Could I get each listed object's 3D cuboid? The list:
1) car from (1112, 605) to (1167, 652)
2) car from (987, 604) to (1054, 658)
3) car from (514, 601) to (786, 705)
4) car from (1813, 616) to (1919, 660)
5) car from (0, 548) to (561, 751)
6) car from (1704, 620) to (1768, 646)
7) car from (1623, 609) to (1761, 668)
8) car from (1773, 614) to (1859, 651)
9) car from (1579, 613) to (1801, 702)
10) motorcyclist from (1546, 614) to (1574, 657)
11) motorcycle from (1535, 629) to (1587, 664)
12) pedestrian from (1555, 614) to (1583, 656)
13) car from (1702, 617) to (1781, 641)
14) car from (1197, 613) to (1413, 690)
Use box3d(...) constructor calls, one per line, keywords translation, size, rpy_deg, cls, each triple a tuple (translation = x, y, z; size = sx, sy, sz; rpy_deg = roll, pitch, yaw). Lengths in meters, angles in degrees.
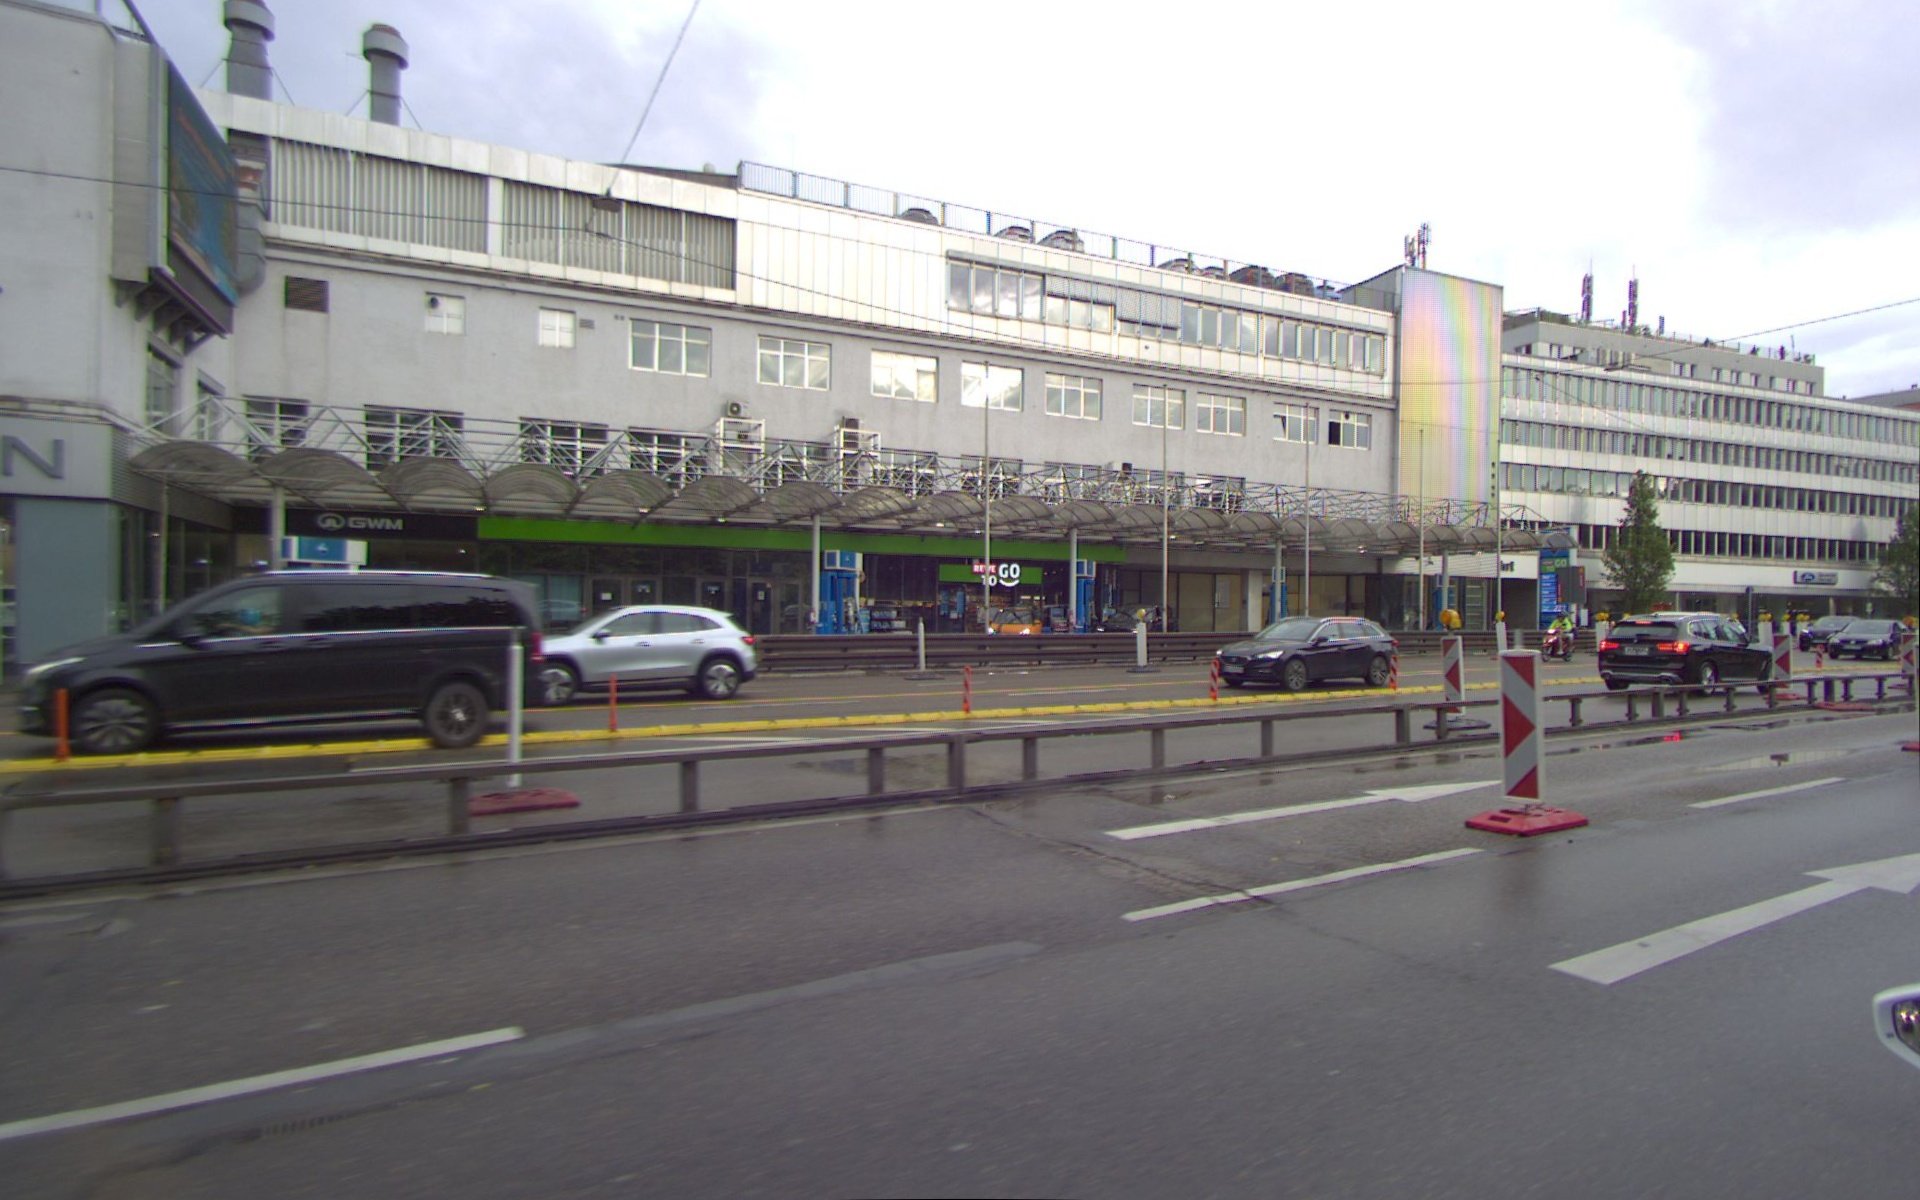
box3d(translation=(6.865, 1.117, 38.557), size=(1.973, 1.701, 4.483), rpy_deg=(0, -2, 9), cls="car")
box3d(translation=(2.225, 1.115, 35.818), size=(1.927, 1.794, 4.449), rpy_deg=(0, -2, 9), cls="car")
box3d(translation=(-5.312, 0.876, 17.371), size=(4.215, 1.606, 1.739), rpy_deg=(1, -2, -30), cls="car")
box3d(translation=(34.025, 1.399, 37.635), size=(4.251, 1.541, 1.949), rpy_deg=(1, 0, -32), cls="car")
box3d(translation=(-7.628, 0.557, 11.888), size=(5.171, 1.962, 1.984), rpy_deg=(1, -2, -31), cls="car")
box3d(translation=(47.352, 2.001, 61.288), size=(3.706, 1.555, 1.647), rpy_deg=(1, -2, -26), cls="car")
box3d(translation=(22.789, 1.161, 31.224), size=(4.529, 1.712, 1.928), rpy_deg=(1, -1, -32), cls="car")
box3d(translation=(37.031, 1.383, 43.437), size=(4.032, 1.556, 1.701), rpy_deg=(1, -1, -32), cls="car")
box3d(translation=(15.680, 1.152, 21.539), size=(4.609, 1.619, 1.940), rpy_deg=(0, 2, -27), cls="car")
box3d(translation=(19.595, 1.157, 32.828), size=(0.555, 1.381, 0.585), rpy_deg=(0, -1, -31), cls="motorcyclist")
box3d(translation=(19.745, 1.532, 32.994), size=(2.004, 1.117, 0.576), rpy_deg=(1, -1, -31), cls="motorcycle")
box3d(translation=(20.071, 1.155, 33.117), size=(0.555, 1.381, 0.585), rpy_deg=(0, -1, -31), cls="pedestrian")
box3d(translation=(57.779, 2.141, 74.363), size=(4.303, 1.673, 1.853), rpy_deg=(0, -1, 25), cls="car")
box3d(translation=(7.392, 1.051, 21.380), size=(4.654, 1.485, 1.842), rpy_deg=(1, -2, -31), cls="car")
